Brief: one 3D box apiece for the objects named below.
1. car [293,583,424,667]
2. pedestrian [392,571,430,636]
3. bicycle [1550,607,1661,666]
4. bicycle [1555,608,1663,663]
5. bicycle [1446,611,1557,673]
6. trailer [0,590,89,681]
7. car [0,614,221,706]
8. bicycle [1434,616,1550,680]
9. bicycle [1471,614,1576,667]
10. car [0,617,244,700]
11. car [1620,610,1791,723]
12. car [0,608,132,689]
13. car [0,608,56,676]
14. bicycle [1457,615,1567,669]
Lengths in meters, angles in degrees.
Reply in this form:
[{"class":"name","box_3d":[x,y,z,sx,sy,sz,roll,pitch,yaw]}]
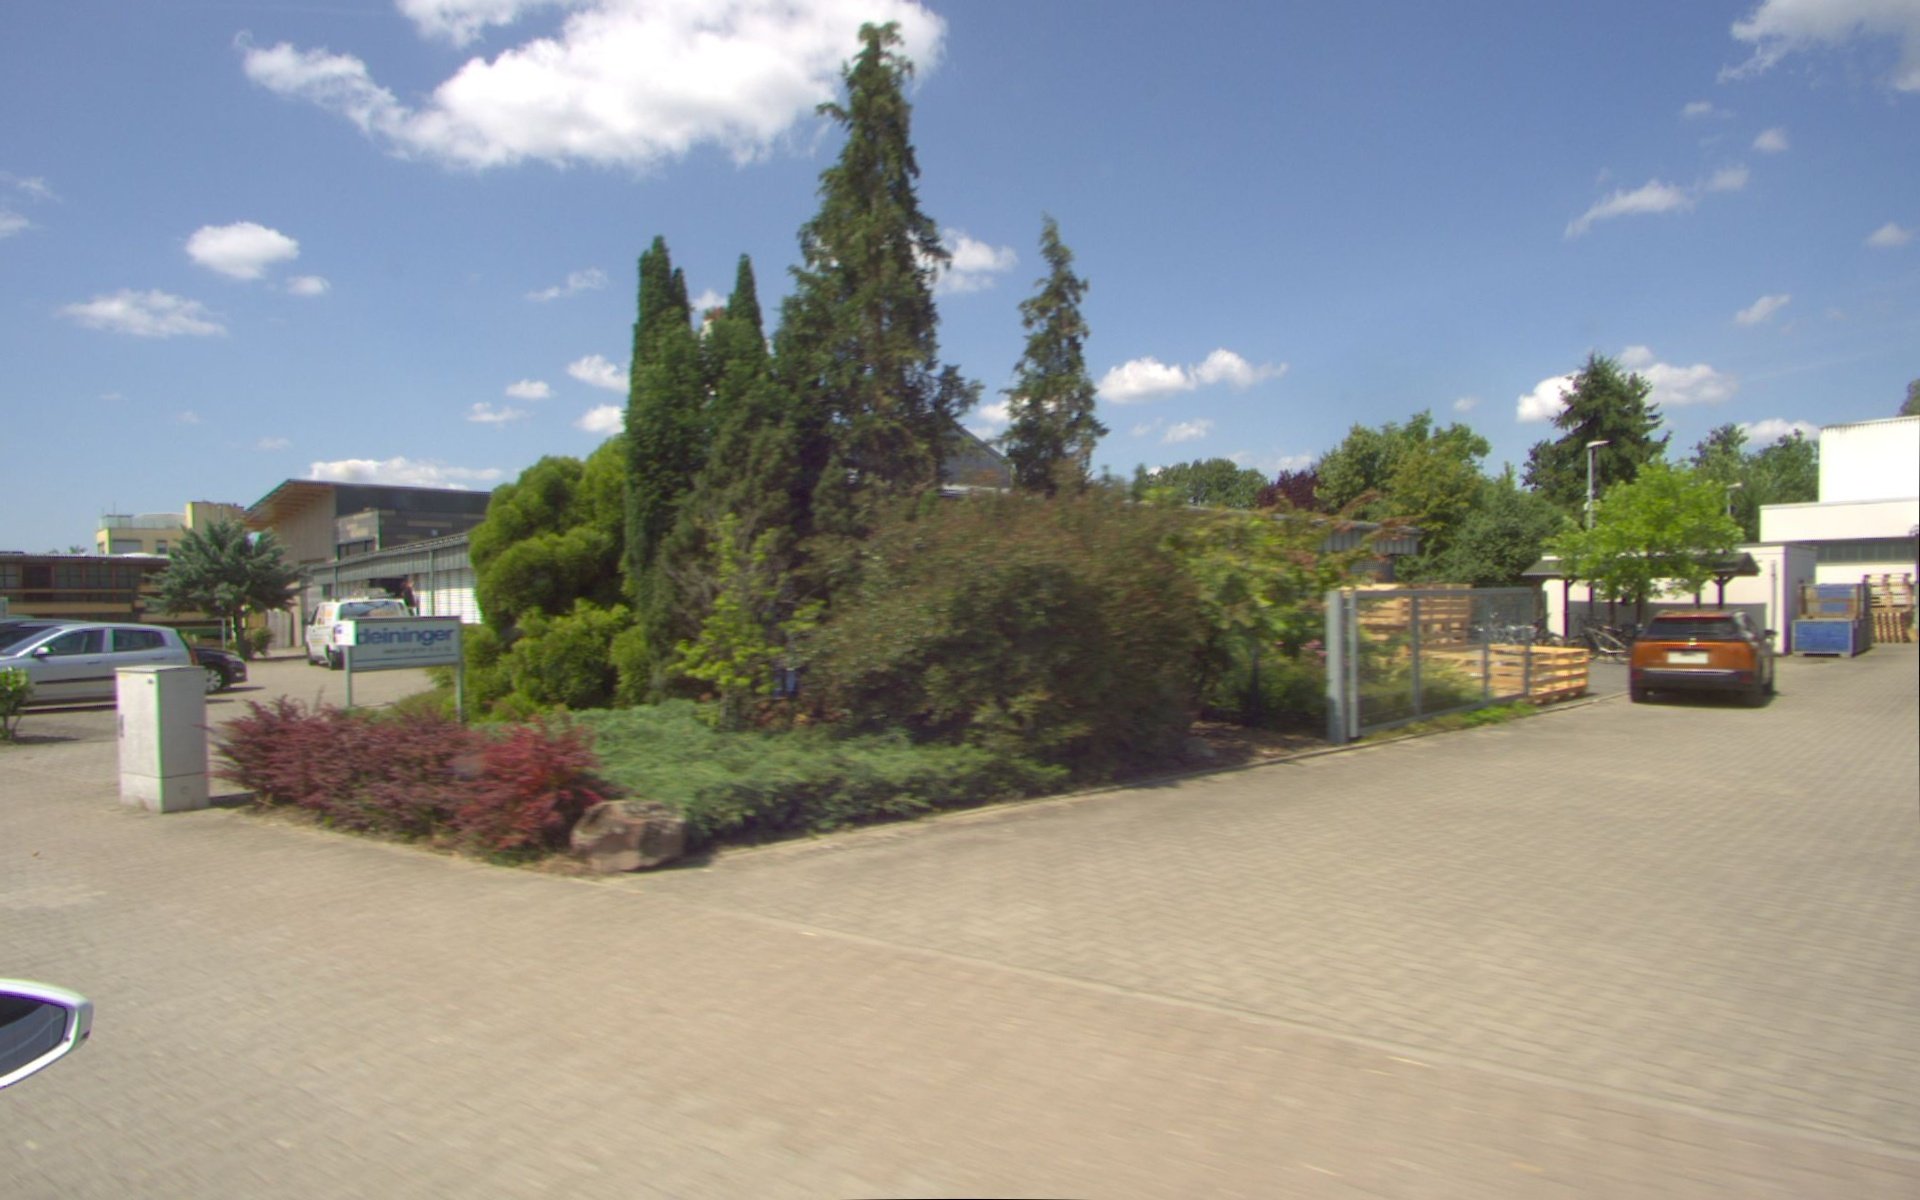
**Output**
[{"class":"car","box_3d":[-17.410,0.686,28.888,2.086,2.154,4.669,-5,2,-45]},{"class":"pedestrian","box_3d":[-16.834,0.109,30.715,0.680,1.968,0.714,-2,0,31]},{"class":"bicycle","box_3d":[15.720,0.894,24.446,0.548,1.360,2.189,-3,0,-39]},{"class":"bicycle","box_3d":[16.197,0.897,25.063,0.512,1.288,2.185,-3,0,-38]},{"class":"bicycle","box_3d":[12.904,1.009,23.920,2.199,1.380,0.712,-3,0,45]},{"class":"trailer","box_3d":[-22.683,0.808,22.736,1.971,2.040,3.980,-1,-1,31]},{"class":"car","box_3d":[-15.567,1.009,17.946,1.746,1.420,3.342,0,1,35]},{"class":"bicycle","box_3d":[12.380,1.119,23.364,0.664,1.399,2.252,-3,0,-44]},{"class":"bicycle","box_3d":[14.037,1.012,24.986,2.155,1.244,0.648,-3,0,44]},{"class":"car","box_3d":[-17.216,1.092,19.973,1.787,1.459,4.469,-1,-1,29]},{"class":"car","box_3d":[12.808,1.021,17.116,1.825,1.682,4.009,-1,-1,44]},{"class":"car","box_3d":[-20.333,1.058,21.139,1.688,1.595,4.030,-3,0,27]},{"class":"car","box_3d":[-25.216,1.118,24.524,1.775,1.655,4.204,-3,0,31]},{"class":"bicycle","box_3d":[13.472,1.035,24.483,2.207,1.262,0.708,-3,0,45]}]
